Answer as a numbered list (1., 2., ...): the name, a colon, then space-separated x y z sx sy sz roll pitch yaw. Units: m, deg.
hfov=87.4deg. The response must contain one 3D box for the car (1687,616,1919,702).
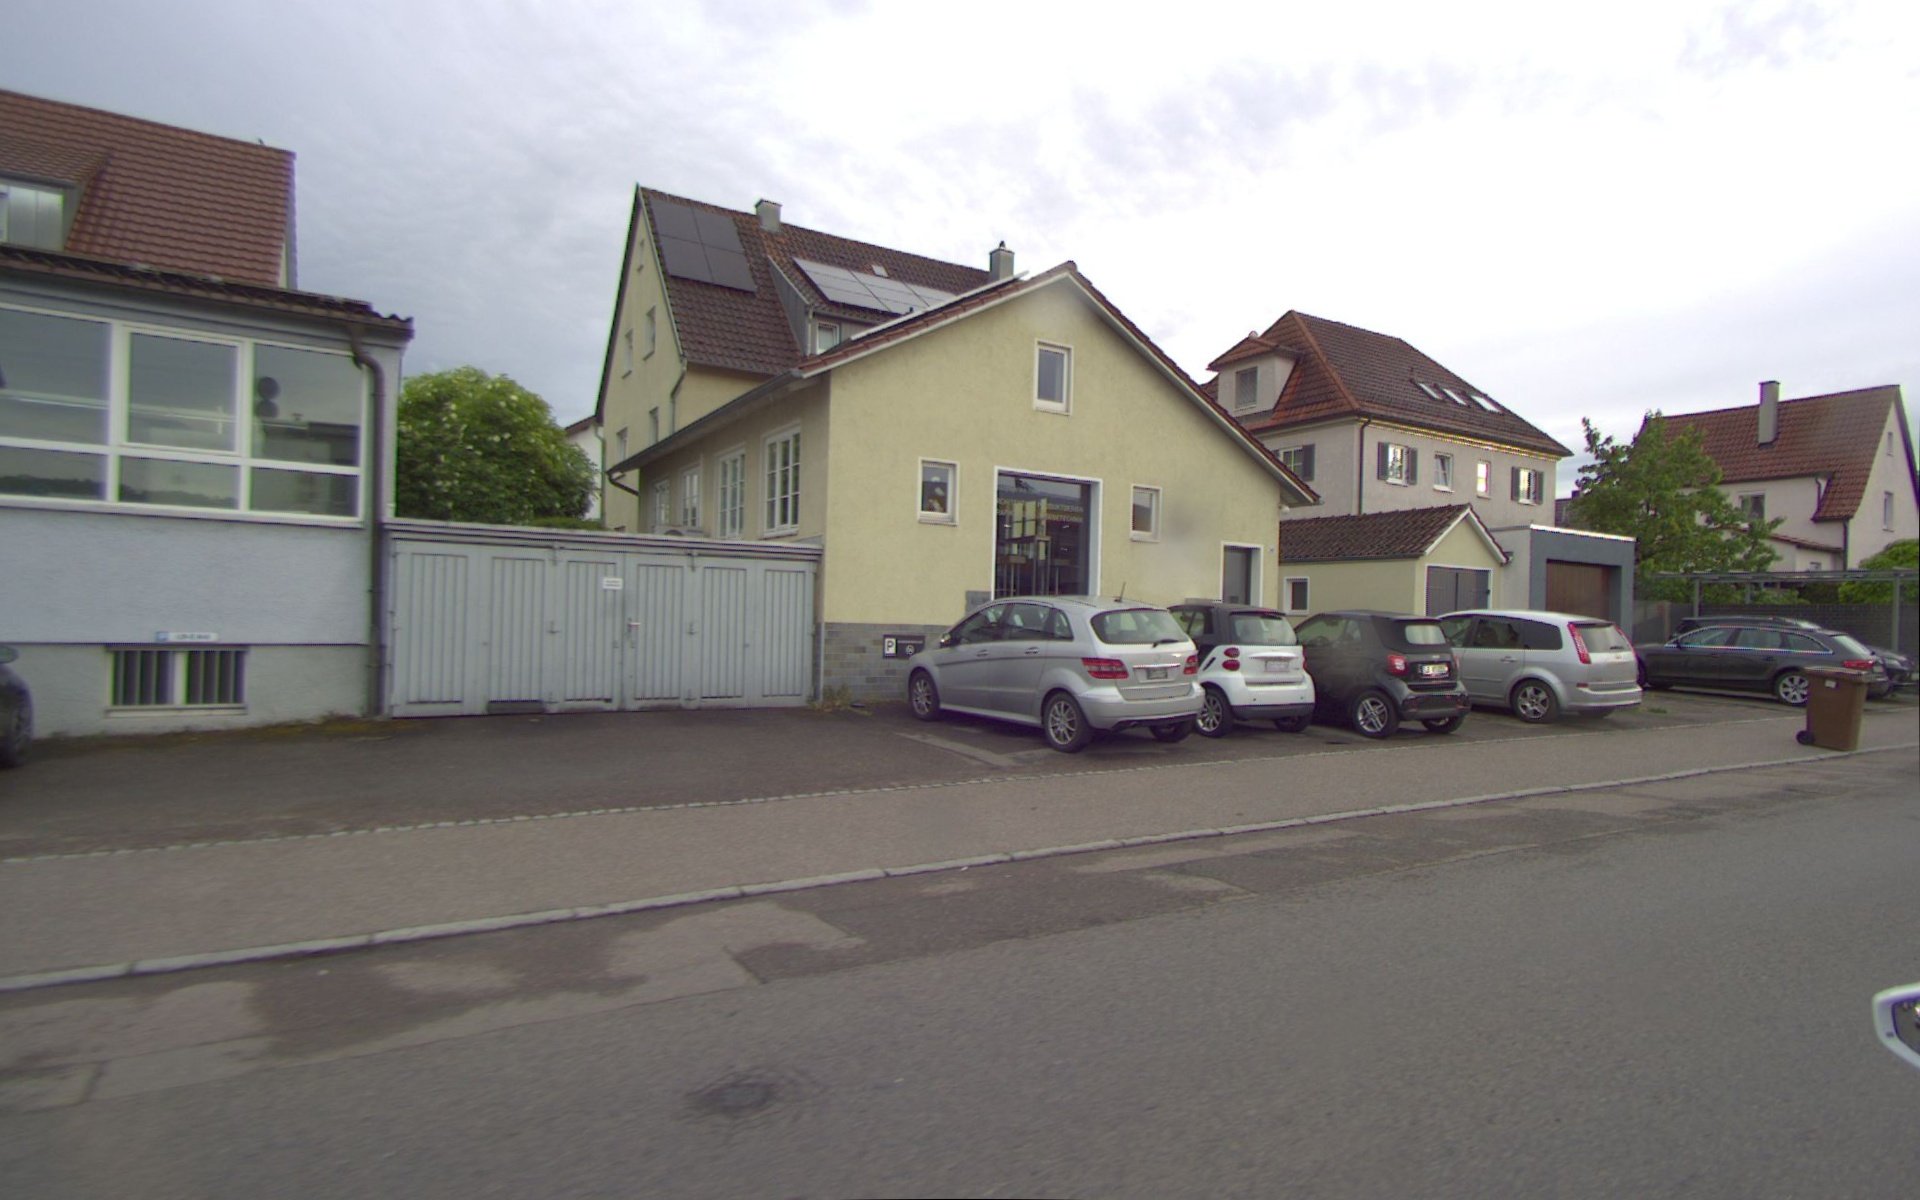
1. car: 17.837 1.178 21.251 1.739 1.476 3.563 2 1 -34

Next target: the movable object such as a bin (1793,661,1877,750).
1. movable object such as a bin: 11.859 1.413 13.620 0.678 1.072 0.593 -1 5 -29

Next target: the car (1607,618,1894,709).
1. car: 15.217 1.143 19.558 1.696 1.433 4.058 1 1 -34

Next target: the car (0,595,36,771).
1. car: -8.181 0.668 6.992 1.747 1.457 3.855 1 -1 -30

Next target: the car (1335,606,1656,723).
1. car: 8.207 0.894 15.741 1.864 1.534 4.057 1 0 -35

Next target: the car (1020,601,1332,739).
1. car: 2.727 0.810 13.581 1.794 1.553 4.060 1 0 -33

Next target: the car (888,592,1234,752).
1. car: 1.028 0.717 12.049 1.980 1.553 4.057 1 -1 -35

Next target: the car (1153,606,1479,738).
1. car: 4.792 0.876 14.045 1.739 1.523 4.057 1 0 -35
